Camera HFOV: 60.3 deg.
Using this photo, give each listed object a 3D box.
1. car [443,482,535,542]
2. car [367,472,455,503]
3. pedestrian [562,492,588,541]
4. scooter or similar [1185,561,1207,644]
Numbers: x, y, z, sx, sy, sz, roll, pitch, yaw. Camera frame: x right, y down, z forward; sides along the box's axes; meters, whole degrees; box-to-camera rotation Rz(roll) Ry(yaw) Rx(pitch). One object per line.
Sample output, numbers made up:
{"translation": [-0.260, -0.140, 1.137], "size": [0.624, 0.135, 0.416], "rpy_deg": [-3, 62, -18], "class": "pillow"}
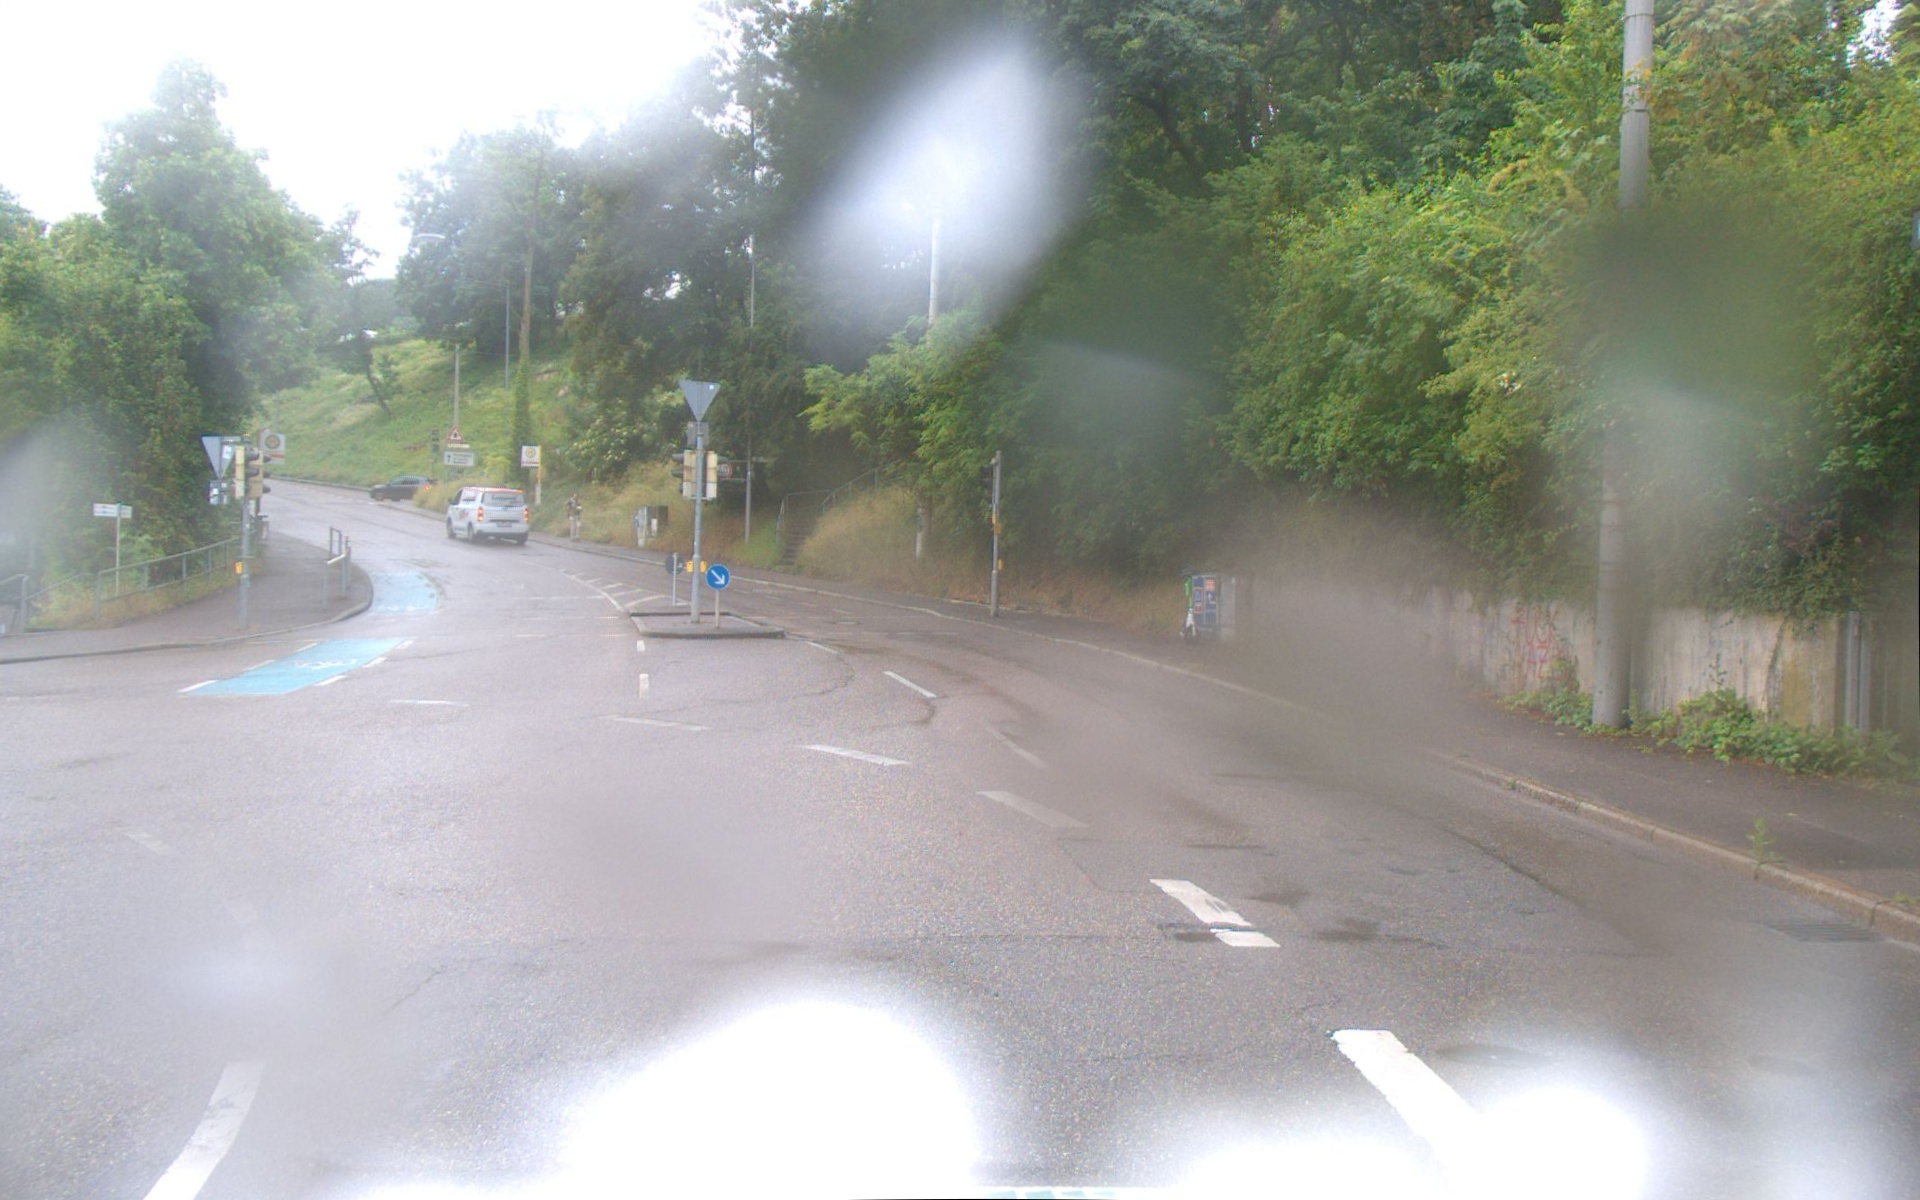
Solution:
{"translation": [-17.266, -3.161, 60.482], "size": [2.045, 2.041, 4.764], "rpy_deg": [0, 1, -31], "class": "car"}
{"translation": [-30.952, -6.354, 93.365], "size": [4.297, 1.538, 1.965], "rpy_deg": [3, 3, 13], "class": "car"}
{"translation": [-14.398, -3.107, 61.830], "size": [0.867, 1.767, 0.861], "rpy_deg": [1, -1, -18], "class": "pedestrian"}
{"translation": [3.783, 0.032, 26.525], "size": [0.315, 1.302, 0.752], "rpy_deg": [0, 3, 7], "class": "scooter or similar"}
